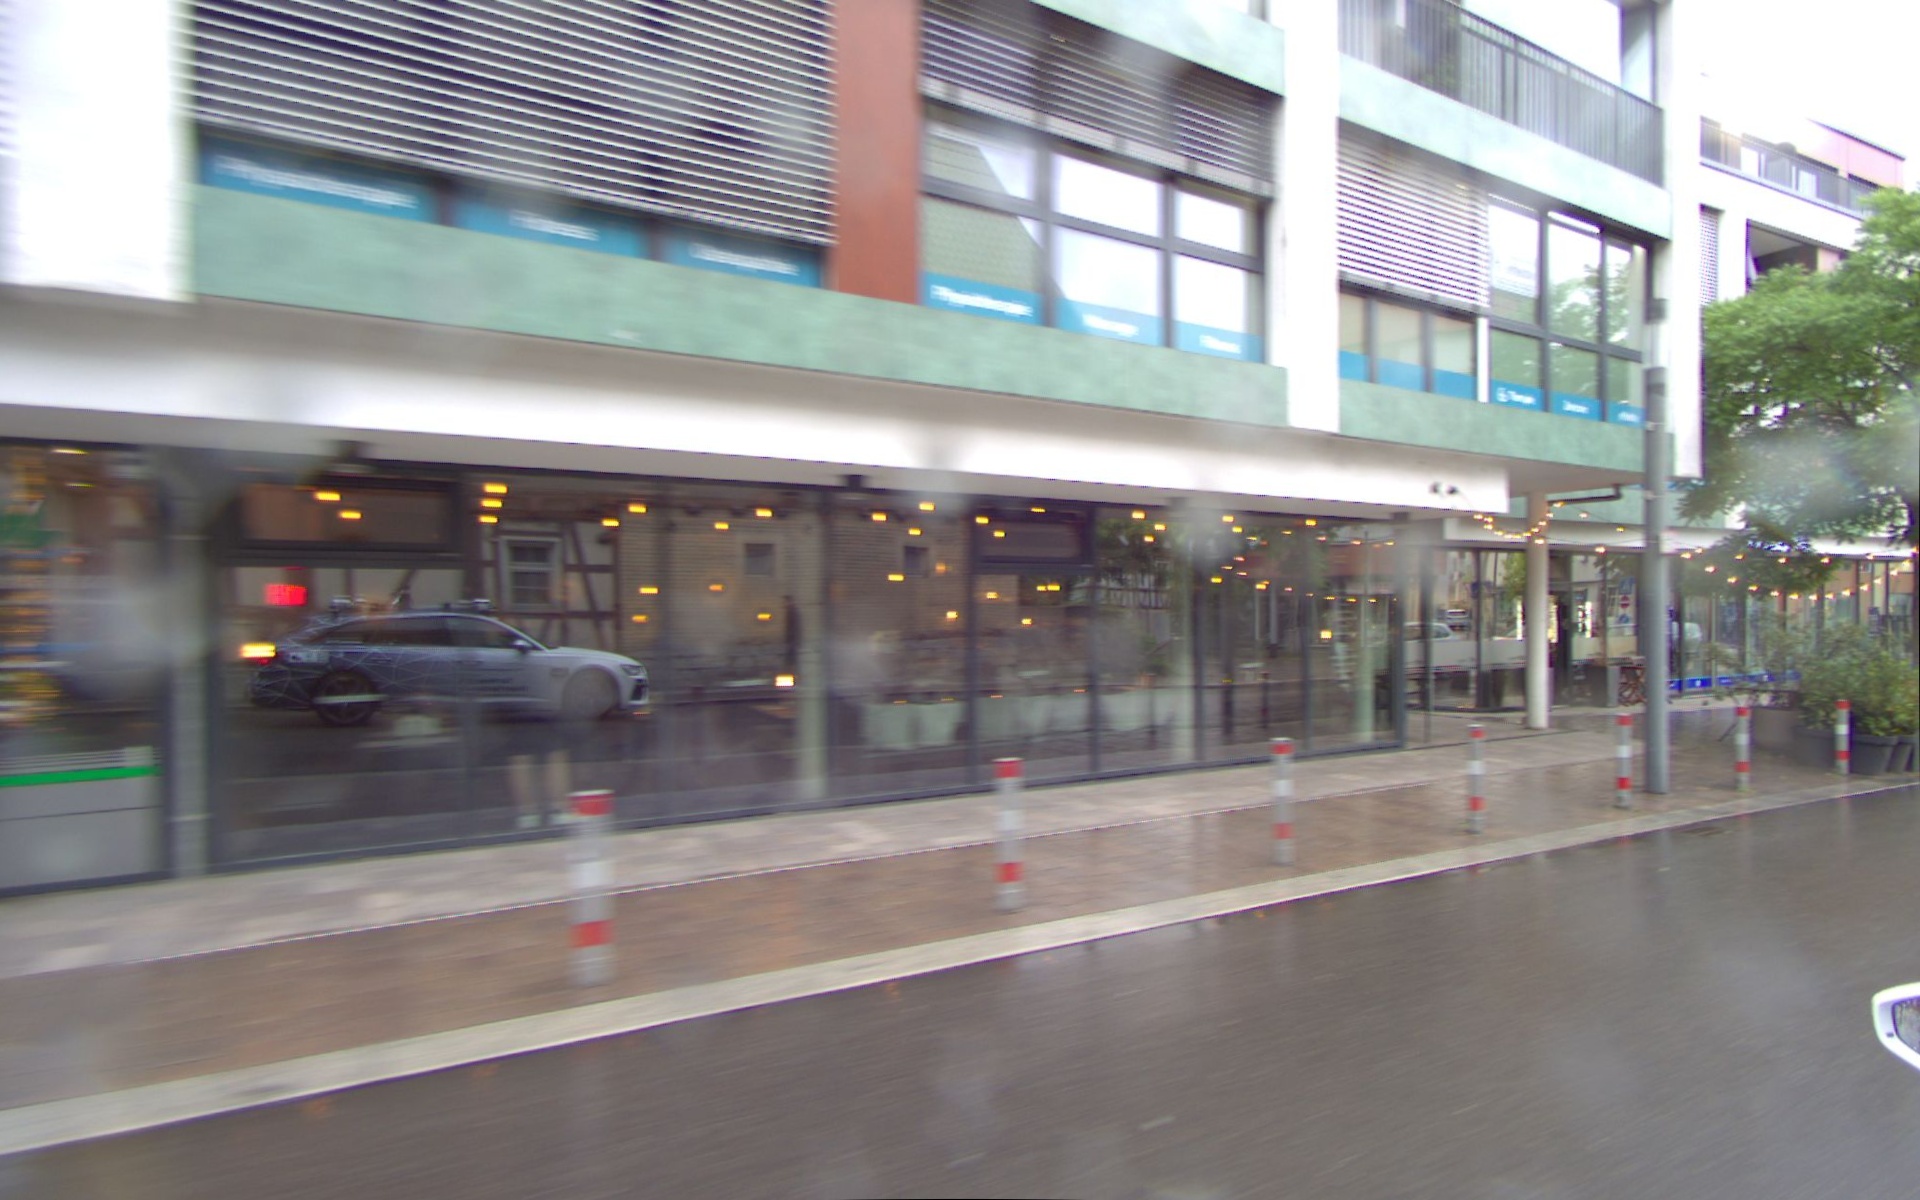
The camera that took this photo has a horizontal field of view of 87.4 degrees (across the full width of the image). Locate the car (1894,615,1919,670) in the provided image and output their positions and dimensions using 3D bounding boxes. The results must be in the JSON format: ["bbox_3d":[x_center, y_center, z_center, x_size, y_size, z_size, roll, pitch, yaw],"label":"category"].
[{"bbox_3d":[33.394,1.349,33.781,3.952,1.639,1.804,-4,2,-30],"label":"car"}]

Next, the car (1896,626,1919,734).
[{"bbox_3d":[15.783,1.161,14.616,4.397,1.518,1.780,1,-1,-27],"label":"car"}]
